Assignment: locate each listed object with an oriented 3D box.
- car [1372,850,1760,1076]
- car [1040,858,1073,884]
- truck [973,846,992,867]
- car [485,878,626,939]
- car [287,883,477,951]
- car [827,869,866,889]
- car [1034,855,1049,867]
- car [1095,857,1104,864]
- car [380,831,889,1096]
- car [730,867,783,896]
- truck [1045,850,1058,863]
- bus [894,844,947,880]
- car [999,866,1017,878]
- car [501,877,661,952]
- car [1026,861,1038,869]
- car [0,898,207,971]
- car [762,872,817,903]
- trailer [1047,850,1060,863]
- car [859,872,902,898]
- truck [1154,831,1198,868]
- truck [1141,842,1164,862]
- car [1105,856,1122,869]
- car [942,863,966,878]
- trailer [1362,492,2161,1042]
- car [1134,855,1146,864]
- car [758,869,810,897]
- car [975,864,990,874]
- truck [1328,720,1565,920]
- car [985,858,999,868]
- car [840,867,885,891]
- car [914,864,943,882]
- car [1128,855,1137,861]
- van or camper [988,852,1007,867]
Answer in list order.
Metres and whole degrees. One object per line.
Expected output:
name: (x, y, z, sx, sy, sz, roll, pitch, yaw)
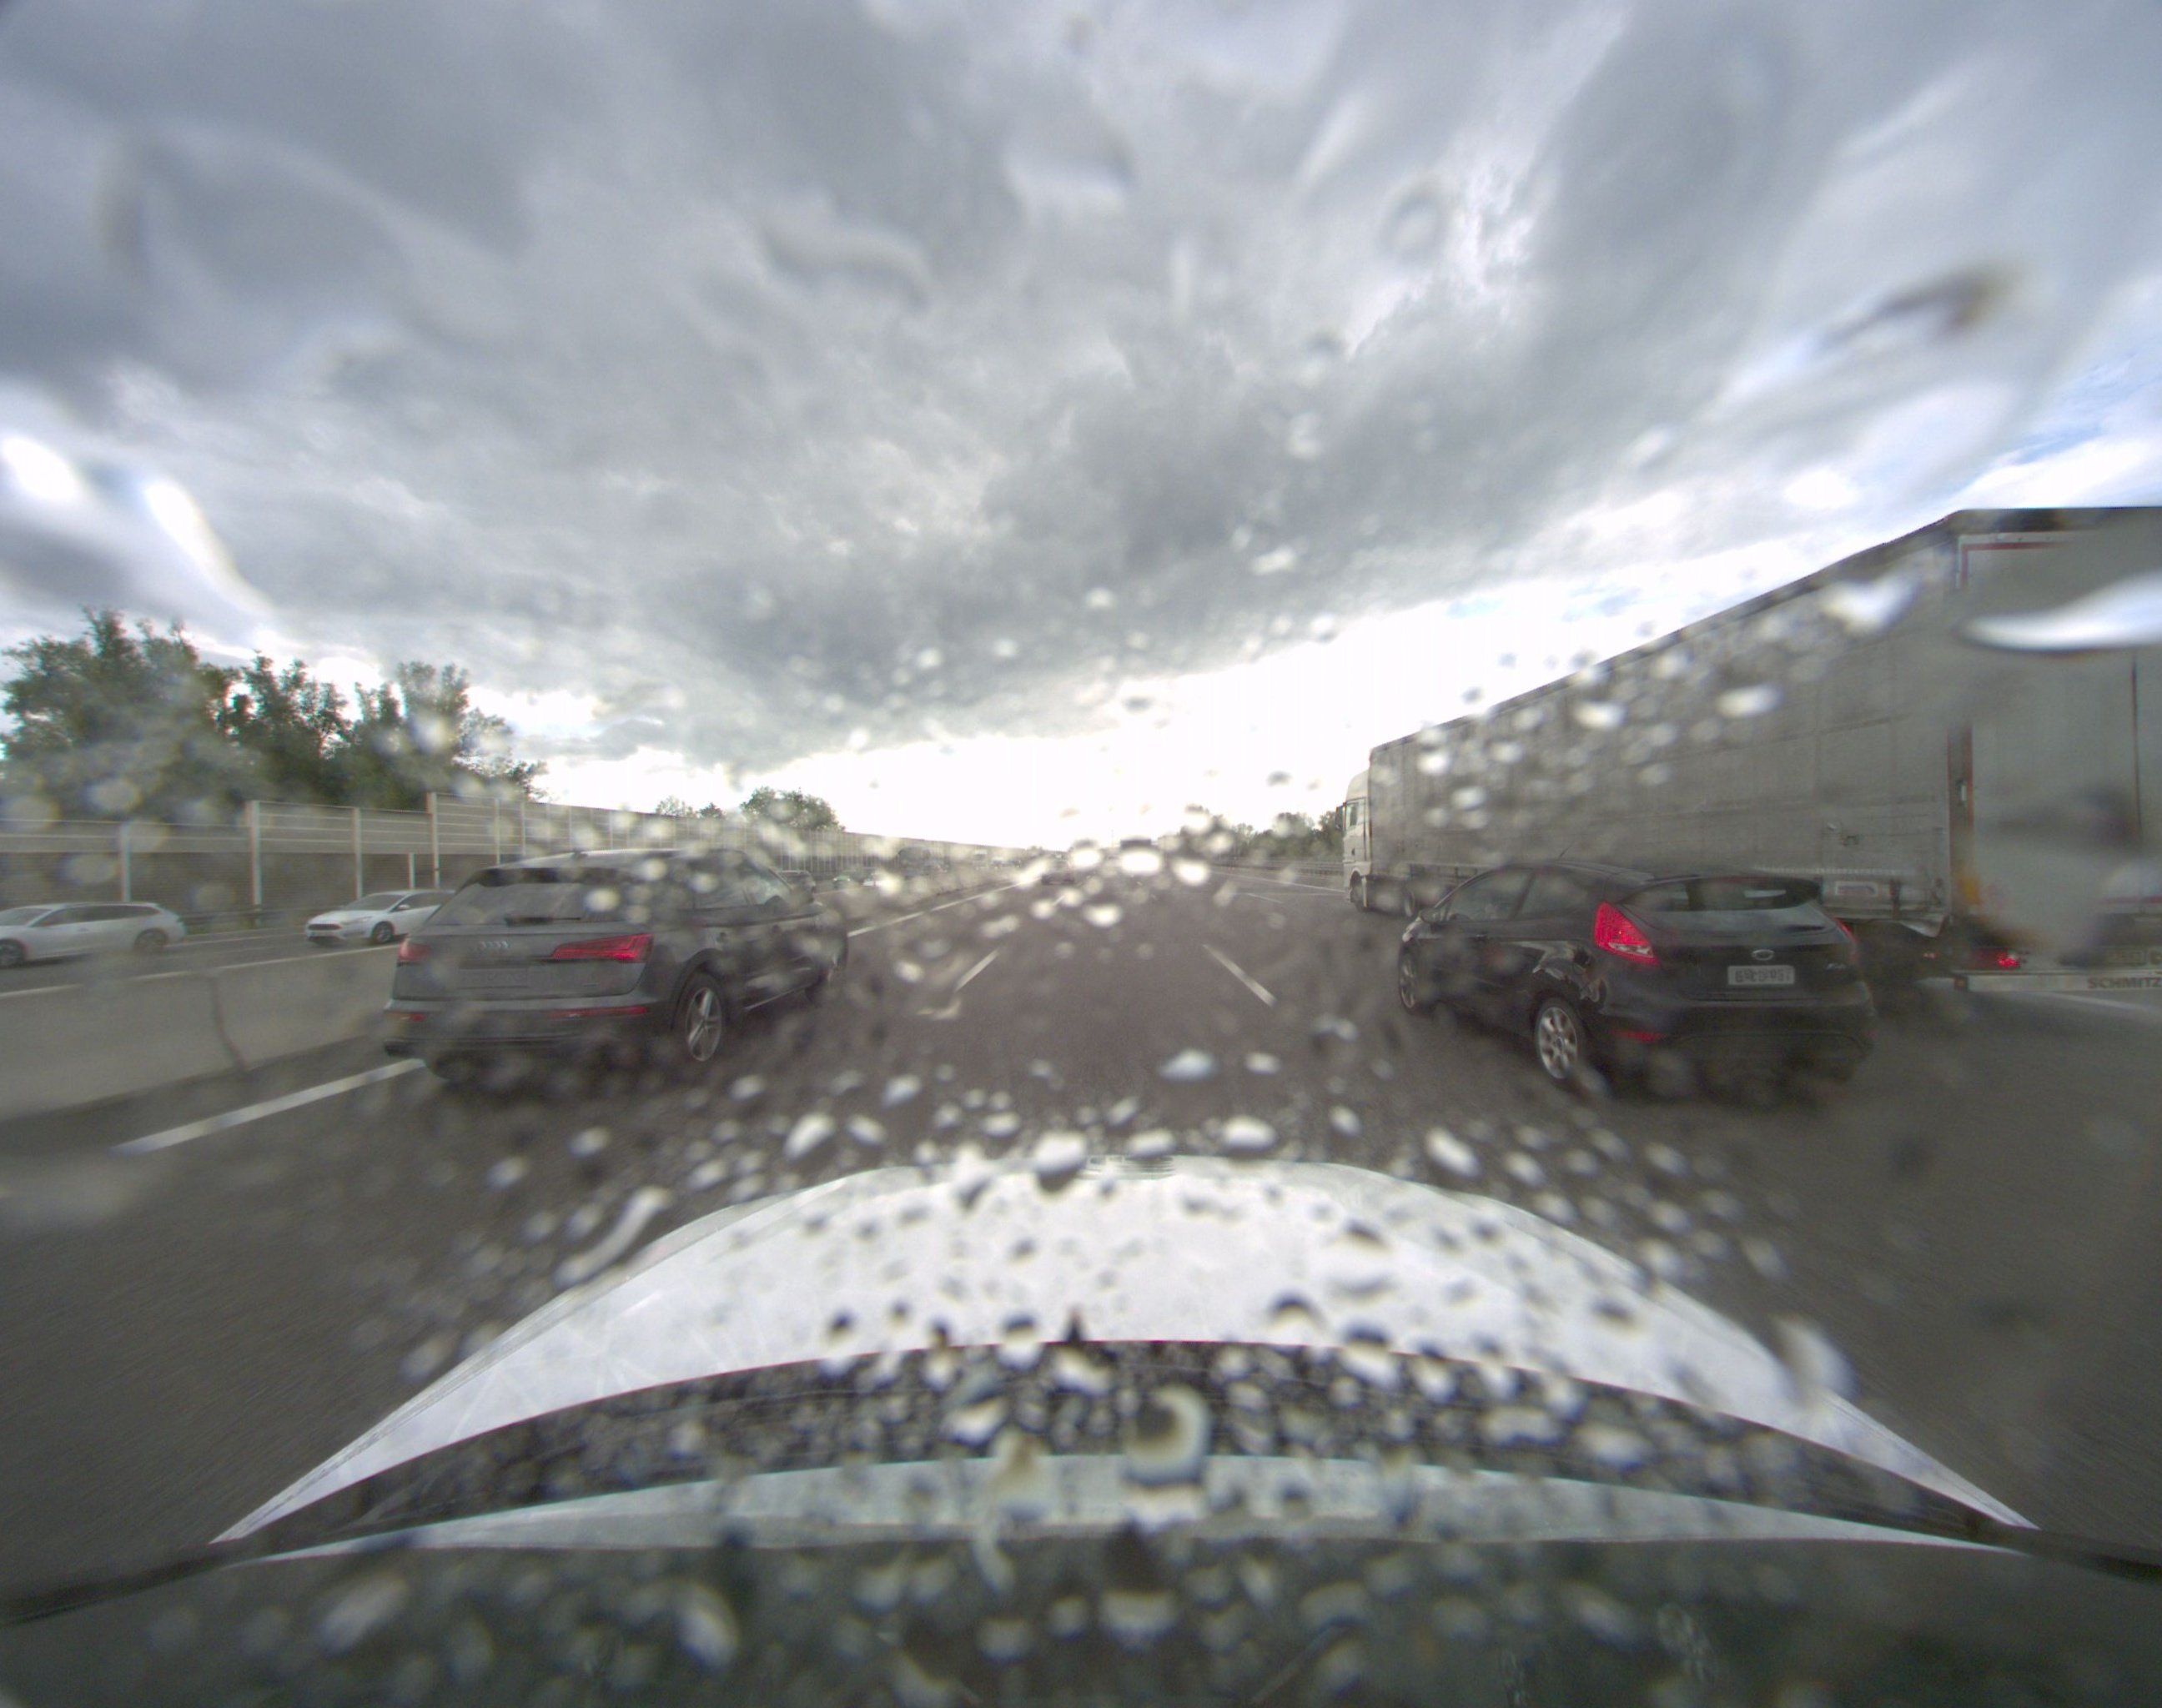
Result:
car: (3.712, 0.704, 6.866, 1.441, 1.441, 3.165, -1, 0, 2)
car: (-1.402, 0.981, 48.236, 1.755, 1.369, 5.059, -1, 0, 0)
truck: (-18.595, 0.521, 153.806, 2.566, 3.935, 5.180, 0, 0, 3)
car: (-16.862, 1.684, 26.414, 1.741, 1.630, 4.167, -2, 0, 1)
car: (-20.529, 1.780, 24.208, 1.741, 1.630, 4.393, -2, 0, 1)
car: (-19.230, 2.028, 67.037, 1.741, 1.430, 4.716, -2, 0, 1)
car: (-7.455, 1.306, 155.017, 2.151, 2.071, 6.018, -2, 0, 3)
car: (3.813, 1.322, 171.834, 1.767, 1.441, 3.873, -1, 0, 0)
car: (-3.538, 0.708, 7.913, 1.901, 1.691, 5.171, -1, 0, 2)
car: (-23.343, 1.920, 58.807, 1.741, 1.893, 4.784, -2, 0, 2)
truck: (-9.090, 0.698, 250.827, 3.067, 3.935, 8.059, 0, 0, 3)
bus: (-18.217, 0.862, 93.475, 3.079, 3.758, 11.889, -2, 0, 3)
car: (-9.704, 2.393, 108.821, 1.740, 1.525, 4.180, -2, 0, 3)
car: (-12.997, 1.515, 21.471, 1.740, 1.630, 3.750, -2, 0, 2)
car: (-10.069, 2.214, 167.469, 1.916, 1.599, 5.099, -2, 0, 3)
car: (-25.066, 1.944, 20.148, 1.858, 1.400, 4.573, -2, 0, 0)
car: (-16.389, 1.848, 45.994, 1.614, 1.580, 3.621, -2, 0, 3)
trailer: (-8.710, 0.680, 258.522, 3.067, 3.935, 14.992, 0, 0, 3)
car: (-12.196, 1.856, 49.781, 1.565, 1.394, 3.578, -2, 0, 3)
truck: (11.576, -0.564, 100.914, 4.165, 4.288, 12.614, 0, 0, 1)
truck: (15.603, -0.485, 178.358, 4.228, 4.176, 11.992, 0, 0, 1)
car: (3.840, 0.975, 97.052, 1.767, 1.441, 4.054, -1, 0, 0)
car: (-14.391, 1.848, 92.479, 1.740, 1.525, 4.180, -2, 0, 3)
trailer: (8.216, -0.699, 13.033, 2.950, 4.020, 14.124, -1, 0, 2)
car: (9.985, 0.979, 138.830, 1.829, 1.441, 4.056, -1, 0, 1)
car: (-19.744, 1.901, 54.356, 1.740, 1.611, 4.180, -2, 0, 3)
car: (-15.996, 2.372, 132.763, 1.740, 1.525, 4.180, -2, 0, 3)
truck: (8.412, -0.709, 19.818, 2.950, 4.020, 6.591, -1, 0, 2)
car: (-15.537, 1.536, 142.386, 1.740, 1.525, 5.143, -2, 0, 3)
car: (-16.154, 1.838, 60.435, 1.927, 1.611, 4.180, -2, 0, 3)
car: (-14.984, 1.857, 80.315, 1.740, 1.525, 4.930, -2, 0, 3)
car: (12.479, 0.979, 197.818, 1.829, 1.441, 4.056, -1, 0, 1)
van or camper: (-15.222, 0.943, 148.543, 2.335, 2.641, 7.154, -2, 0, 3)
